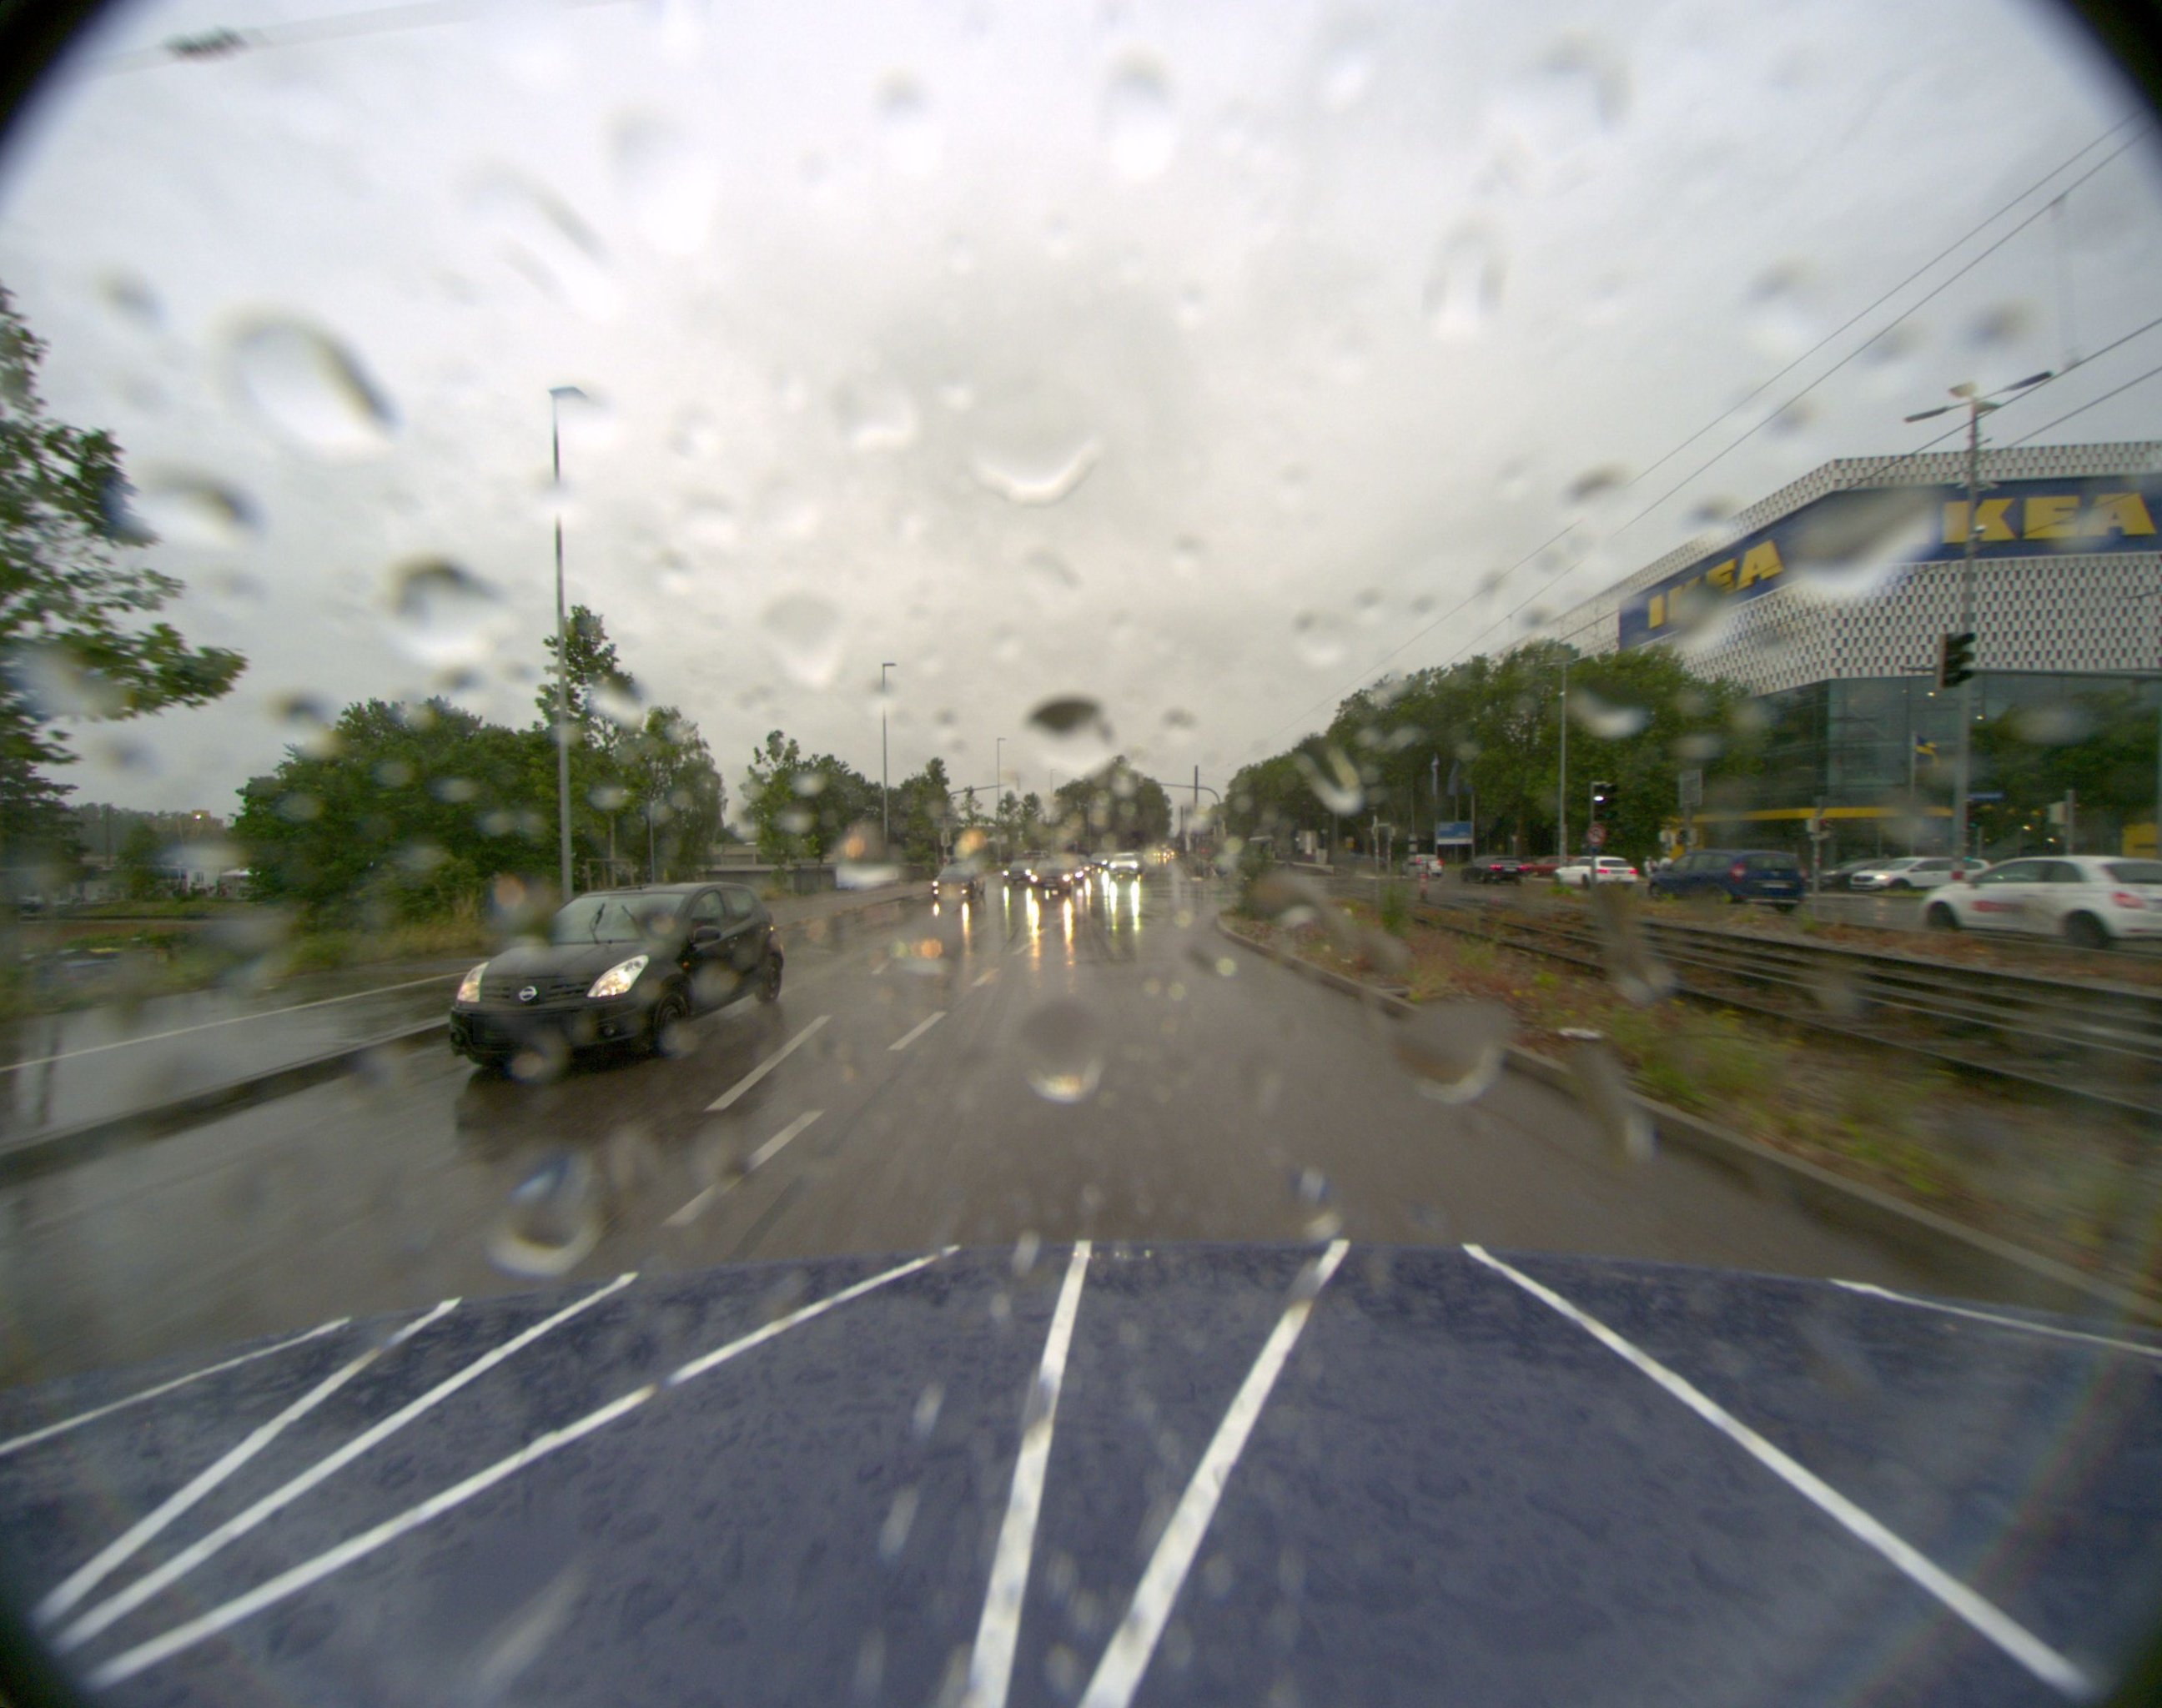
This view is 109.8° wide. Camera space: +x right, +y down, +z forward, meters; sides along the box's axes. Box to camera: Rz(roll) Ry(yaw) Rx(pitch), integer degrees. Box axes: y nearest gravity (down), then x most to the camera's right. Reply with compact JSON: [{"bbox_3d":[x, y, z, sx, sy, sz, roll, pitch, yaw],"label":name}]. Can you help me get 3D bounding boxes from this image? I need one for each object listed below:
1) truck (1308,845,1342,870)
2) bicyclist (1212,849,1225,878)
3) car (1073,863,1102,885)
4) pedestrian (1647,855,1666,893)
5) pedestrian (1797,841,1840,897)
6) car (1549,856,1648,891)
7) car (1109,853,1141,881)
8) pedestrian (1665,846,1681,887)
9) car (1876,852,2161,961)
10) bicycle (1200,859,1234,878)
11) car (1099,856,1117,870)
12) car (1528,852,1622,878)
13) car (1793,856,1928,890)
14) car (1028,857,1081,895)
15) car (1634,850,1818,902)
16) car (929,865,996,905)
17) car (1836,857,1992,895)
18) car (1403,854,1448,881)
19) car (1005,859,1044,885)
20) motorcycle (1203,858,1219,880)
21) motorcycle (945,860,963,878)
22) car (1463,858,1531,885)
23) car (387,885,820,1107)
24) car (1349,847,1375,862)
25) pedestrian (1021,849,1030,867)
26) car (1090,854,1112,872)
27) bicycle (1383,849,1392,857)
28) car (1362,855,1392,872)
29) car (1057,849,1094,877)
[{"bbox_3d":[33.028,0.380,103.038,2.746,2.833,9.095,-2,2,8],"label":"truck"},{"bbox_3d":[8.260,0.577,45.558,0.618,1.721,0.793,-3,0,4],"label":"bicyclist"},{"bbox_3d":[0.513,1.460,56.081,1.715,1.515,4.045,-2,-1,6],"label":"car"},{"bbox_3d":[30.601,1.060,40.387,0.693,2.001,0.629,-3,0,38],"label":"pedestrian"},{"bbox_3d":[30.443,0.605,31.365,0.919,2.232,0.990,-3,3,20],"label":"pedestrian"},{"bbox_3d":[23.492,0.836,34.738,1.815,1.427,4.716,-2,-1,8],"label":"car"},{"bbox_3d":[3.131,0.875,53.121,1.993,1.778,4.555,-2,0,6],"label":"car"},{"bbox_3d":[31.167,0.679,39.994,0.570,2.122,0.634,-3,0,38],"label":"pedestrian"},{"bbox_3d":[16.380,0.778,12.970,1.715,1.526,4.050,-2,-1,8],"label":"car"},{"bbox_3d":[8.165,0.875,45.633,1.869,1.002,0.670,-3,0,5],"label":"bicycle"},{"bbox_3d":[3.053,0.972,84.783,1.715,1.515,4.045,-2,-1,6],"label":"car"},{"bbox_3d":[34.323,0.796,52.931,2.003,1.558,5.050,-2,-1,-30],"label":"car"},{"bbox_3d":[37.409,0.904,36.563,4.283,1.532,1.821,-1,0,8],"label":"car"},{"bbox_3d":[-1.139,0.966,34.613,1.876,1.573,4.045,-2,-1,5],"label":"car"},{"bbox_3d":[17.670,0.576,21.142,1.715,1.242,4.464,-2,-1,7],"label":"car"},{"bbox_3d":[-4.900,1.253,31.891,1.715,1.476,4.045,-2,-1,6],"label":"car"},{"bbox_3d":[36.503,0.950,33.399,4.457,1.532,1.821,-2,0,8],"label":"car"},{"bbox_3d":[23.482,0.888,51.956,1.715,1.698,4.433,-2,-1,10],"label":"car"},{"bbox_3d":[-3.525,1.094,47.836,1.715,1.515,4.045,-2,-1,6],"label":"car"},{"bbox_3d":[7.606,0.880,44.439,0.527,1.214,1.404,-3,-1,27],"label":"motorcycle"},{"bbox_3d":[-8.661,0.998,51.858,0.632,1.211,1.450,0,0,18],"label":"motorcycle"},{"bbox_3d":[21.094,0.841,38.680,1.715,1.242,4.050,-2,-1,9],"label":"car"},{"bbox_3d":[-4.234,1.132,7.670,1.776,1.453,4.092,-2,-1,-1],"label":"car"},{"bbox_3d":[28.477,0.105,77.141,1.585,1.406,3.918,-2,-1,8],"label":"car"},{"bbox_3d":[-4.930,0.341,67.242,0.733,1.602,0.618,0,2,6],"label":"pedestrian"},{"bbox_3d":[1.900,0.848,72.021,1.715,1.515,4.045,-2,-1,6],"label":"car"},{"bbox_3d":[33.603,-0.068,83.346,0.574,0.852,1.176,-2,1,2],"label":"bicycle"},{"bbox_3d":[24.466,0.770,62.888,1.584,1.358,4.205,-2,-1,11],"label":"car"},{"bbox_3d":[-0.272,0.516,44.993,1.715,1.515,4.045,-2,-1,6],"label":"car"}]
